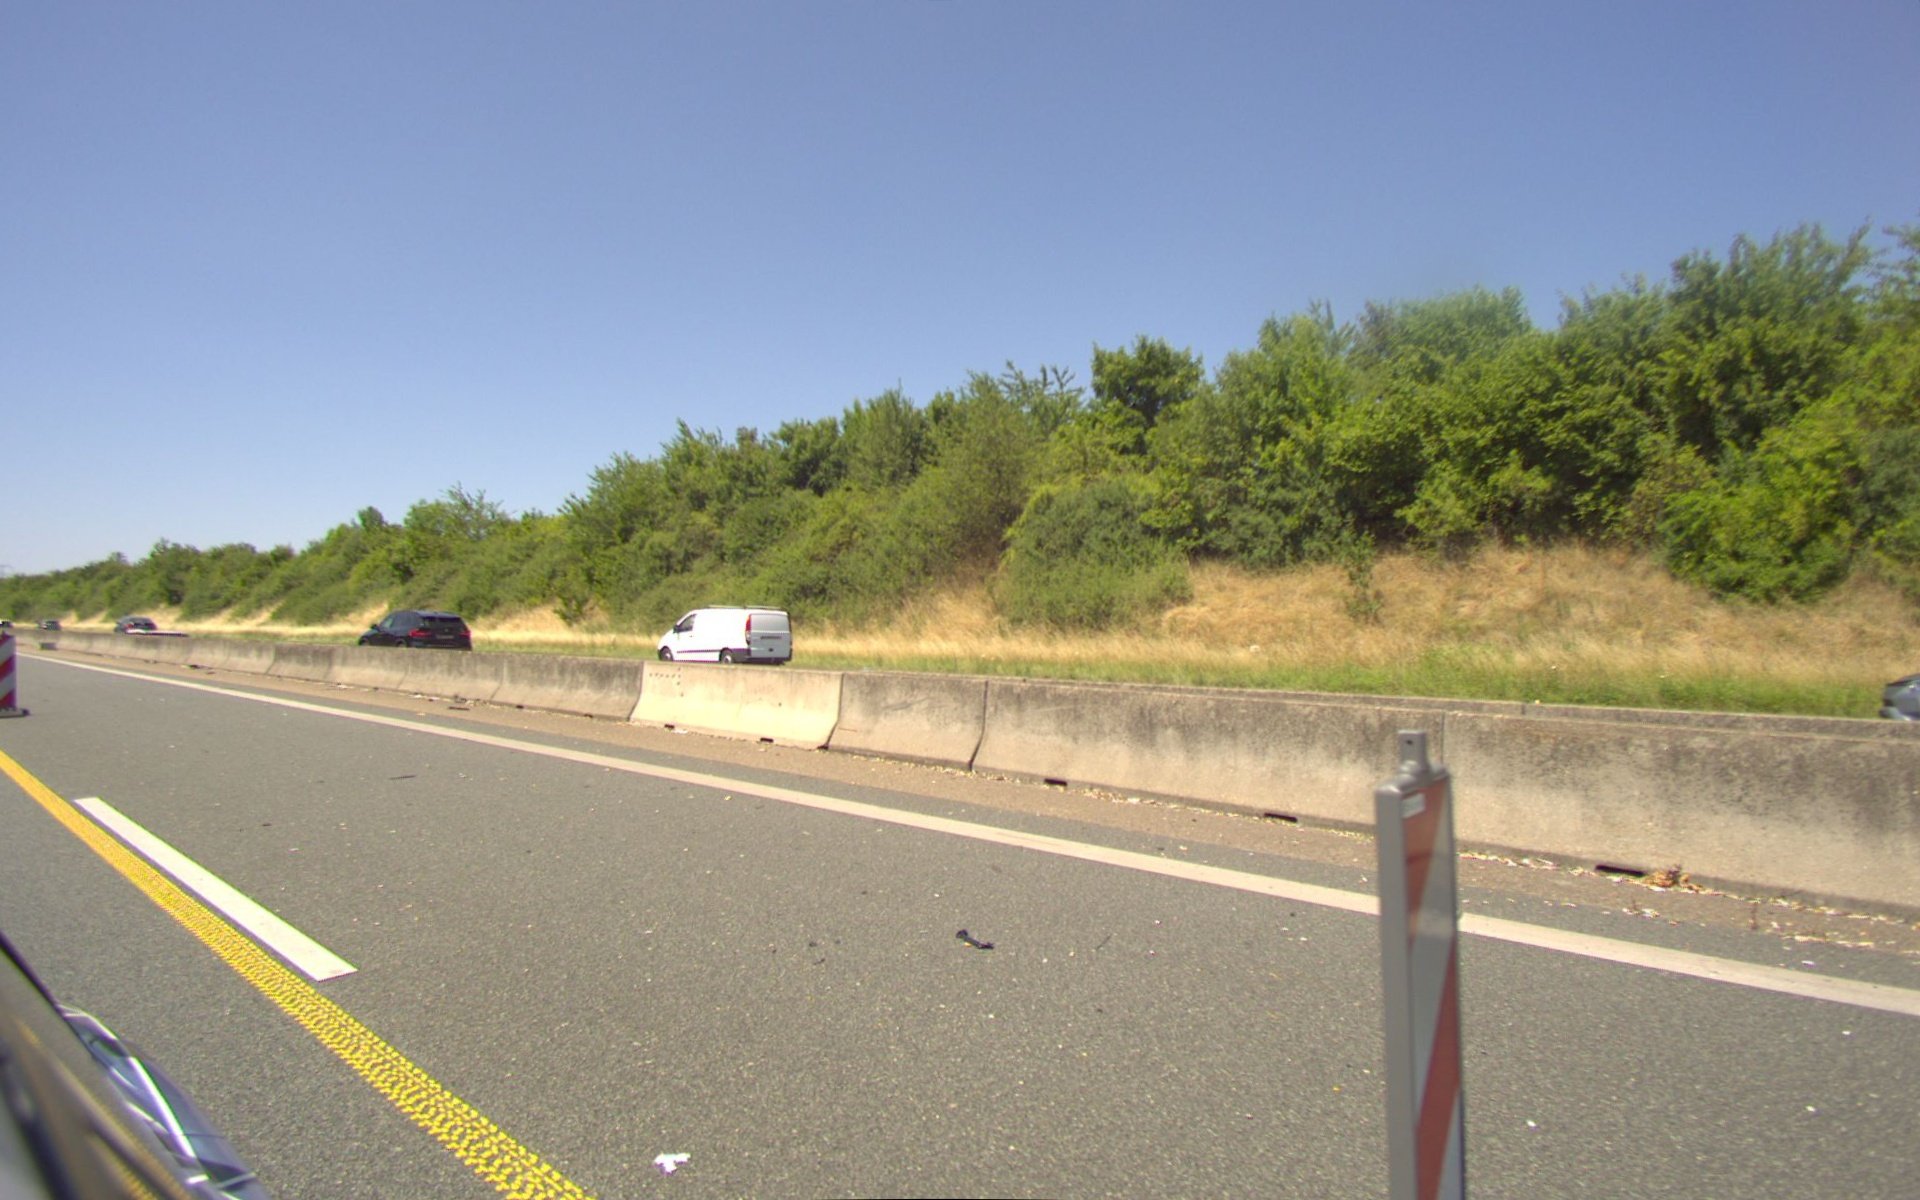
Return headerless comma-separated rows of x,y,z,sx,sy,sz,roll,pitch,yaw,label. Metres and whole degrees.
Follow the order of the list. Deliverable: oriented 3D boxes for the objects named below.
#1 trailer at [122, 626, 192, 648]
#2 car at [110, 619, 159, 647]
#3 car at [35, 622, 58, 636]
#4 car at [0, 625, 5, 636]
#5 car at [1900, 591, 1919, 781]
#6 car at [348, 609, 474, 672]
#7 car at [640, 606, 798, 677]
-52.627,2.387,66.233,7.213,1.354,2.331,-1,-2,41,trailer
-57.185,2.267,70.056,4.563,1.767,1.893,-1,0,41,car
-103.782,3.238,114.987,3.998,1.560,1.484,-1,-2,41,car
-129.903,4.065,136.212,3.777,1.475,1.557,-1,-2,42,car
11.464,0.800,8.860,4.620,1.796,1.973,-1,-2,41,car
-16.117,1.149,29.611,4.497,1.707,1.852,-1,-2,42,car
-7.612,1.257,31.614,5.593,2.029,1.910,-2,-2,41,car
